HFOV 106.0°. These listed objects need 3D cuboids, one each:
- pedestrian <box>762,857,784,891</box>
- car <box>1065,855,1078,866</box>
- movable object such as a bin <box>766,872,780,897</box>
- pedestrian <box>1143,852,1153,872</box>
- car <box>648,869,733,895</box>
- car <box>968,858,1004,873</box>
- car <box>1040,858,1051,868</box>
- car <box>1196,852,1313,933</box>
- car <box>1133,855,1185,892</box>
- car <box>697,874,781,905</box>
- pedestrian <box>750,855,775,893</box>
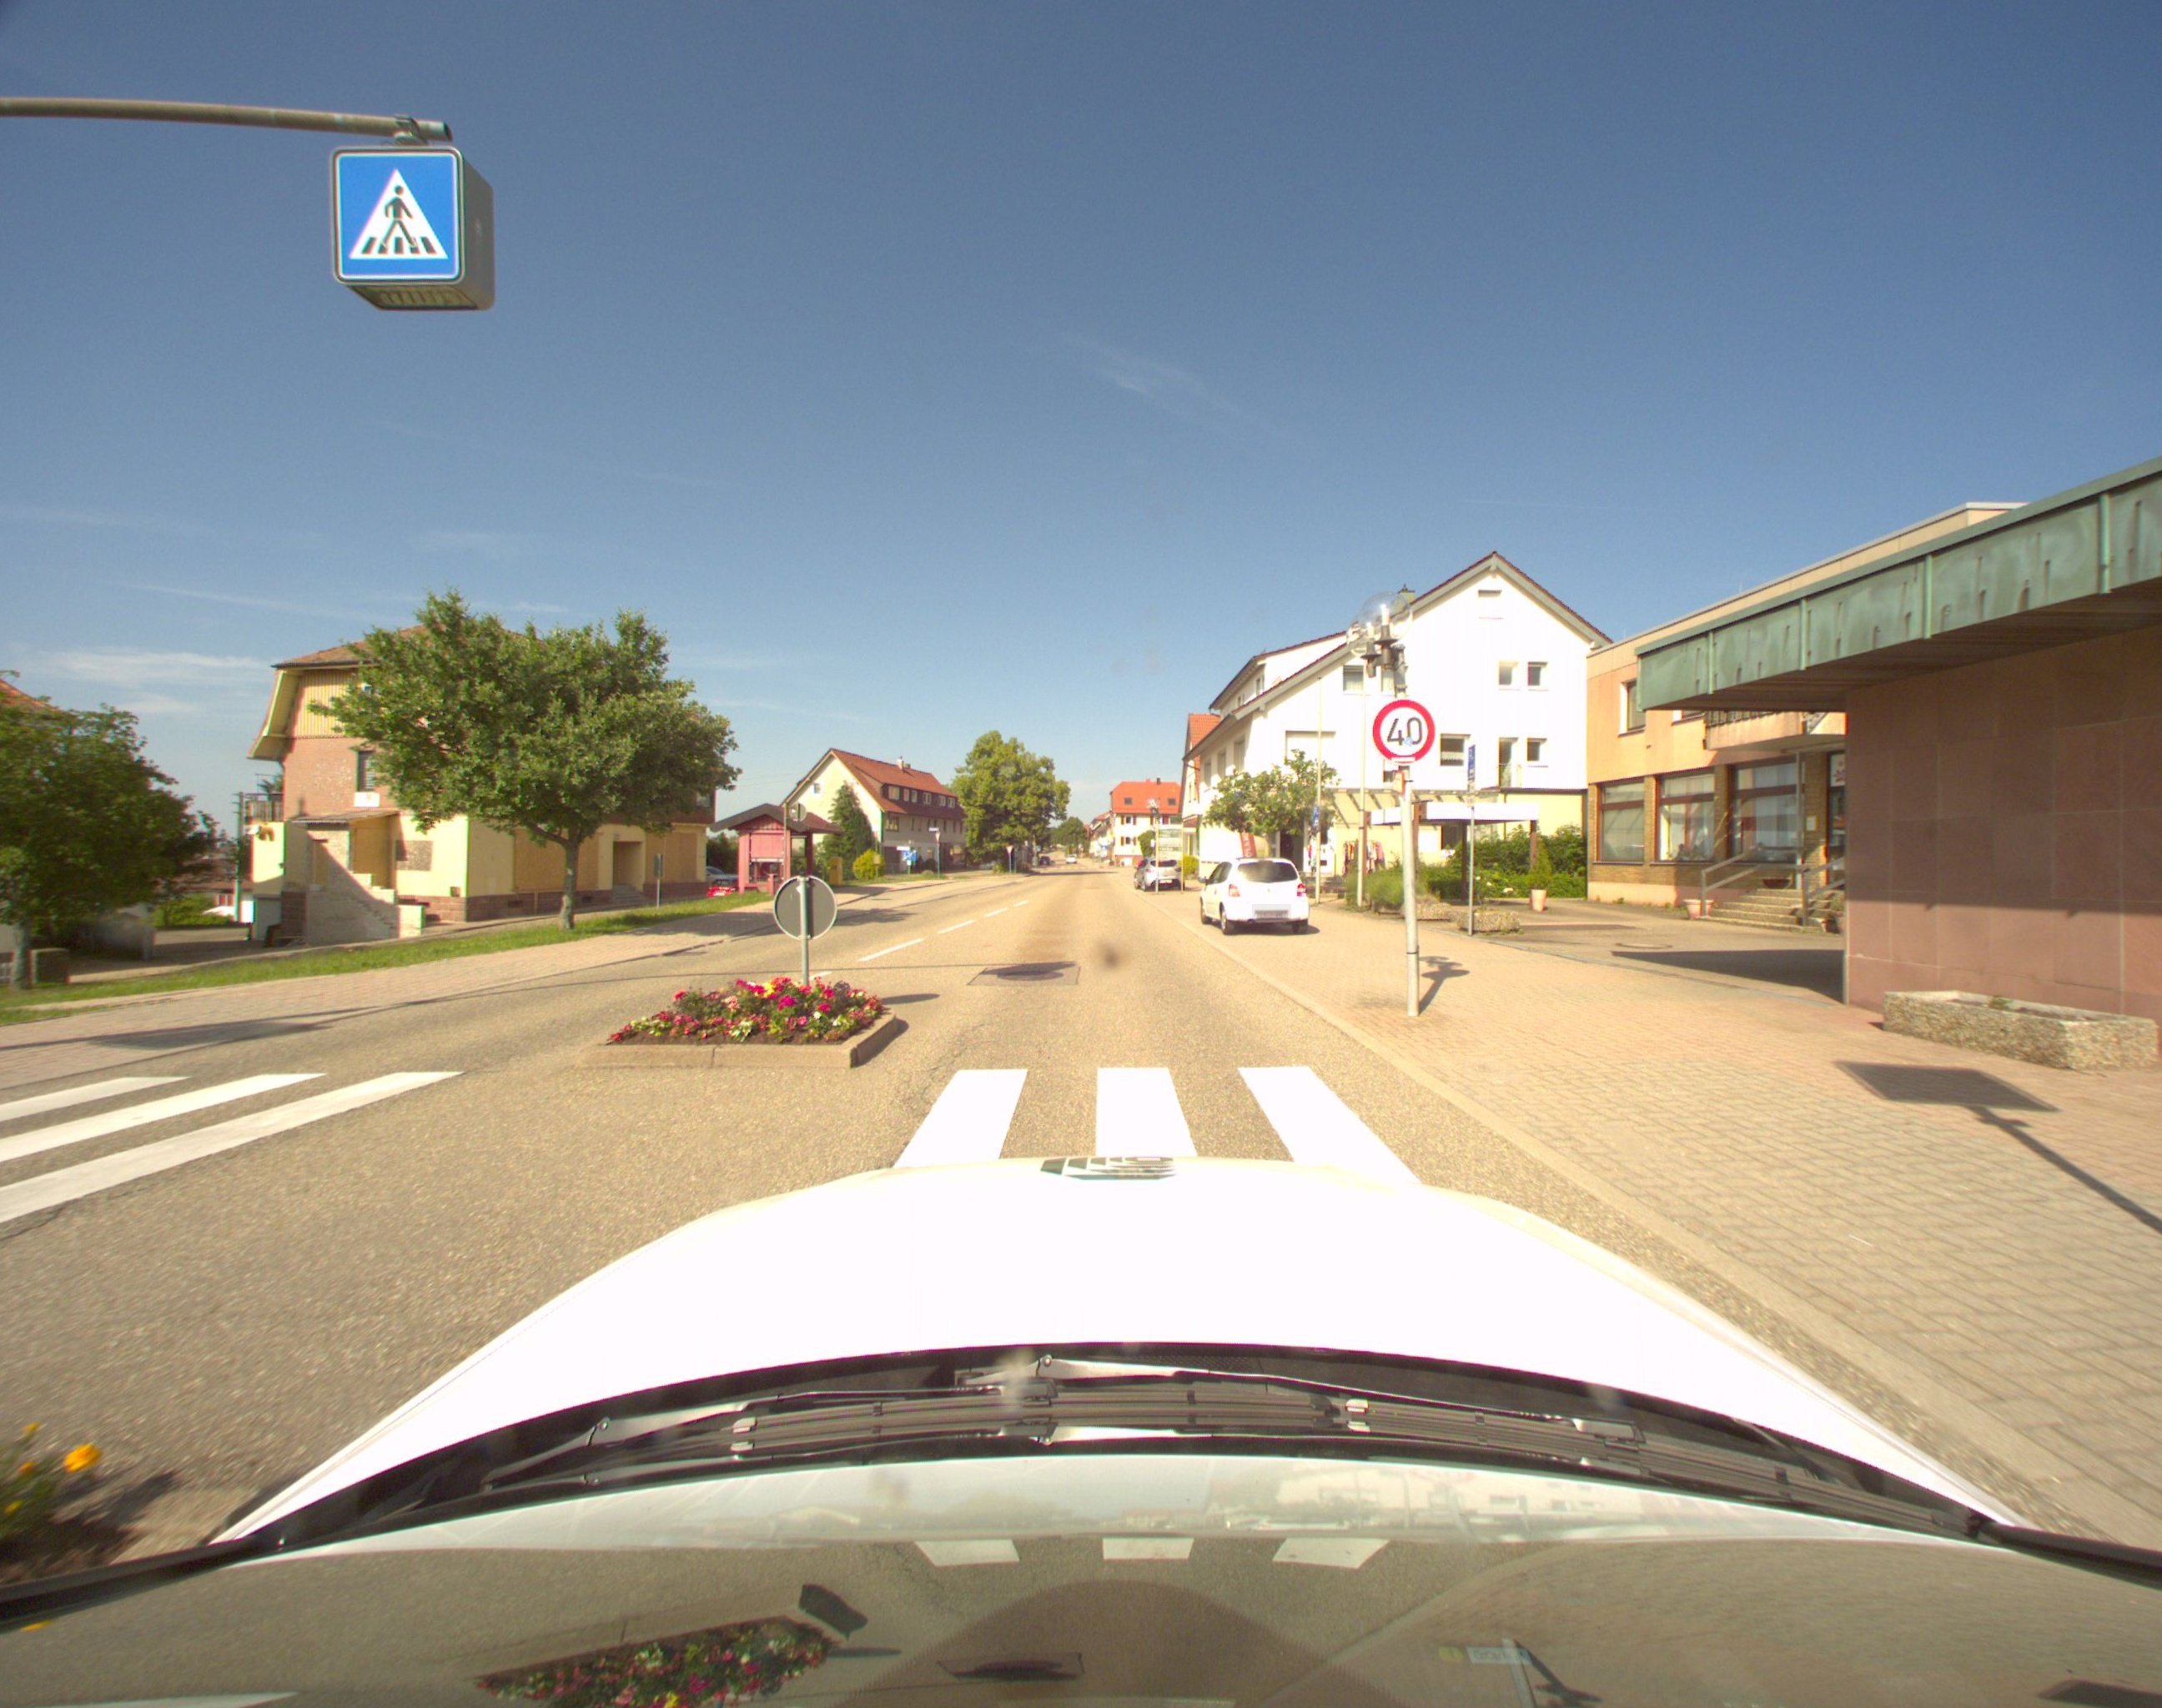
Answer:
[{"bbox_3d":[-11.714,0.768,30.969,0.627,1.253,0.423,-3,-1,-3],"label":"pedestrian"},{"bbox_3d":[-1.898,1.181,159.913,2.488,2.013,4.302,-3,0,-1],"label":"car"},{"bbox_3d":[-10.574,1.041,27.971,0.304,0.837,0.485,-2,-1,-3],"label":"movable object such as a bin"},{"bbox_3d":[5.899,0.707,71.673,0.796,1.784,0.981,-2,0,5],"label":"pedestrian"},{"bbox_3d":[-23.575,1.696,49.234,4.275,1.512,1.804,0,-2,9],"label":"car"},{"bbox_3d":[-11.087,1.372,95.454,3.734,1.455,1.823,-3,-6,11],"label":"car"},{"bbox_3d":[-6.233,1.530,141.406,1.667,1.533,3.534,4,0,0],"label":"car"},{"bbox_3d":[3.452,0.715,16.866,1.753,1.423,3.636,-2,0,2],"label":"car"},{"bbox_3d":[3.327,0.807,35.279,1.632,1.420,3.930,-2,0,-4],"label":"car"},{"bbox_3d":[-16.859,1.704,40.334,1.708,1.297,4.016,-2,0,14],"label":"car"},{"bbox_3d":[-11.847,0.731,30.329,0.616,1.364,0.674,-3,1,-2],"label":"pedestrian"}]
